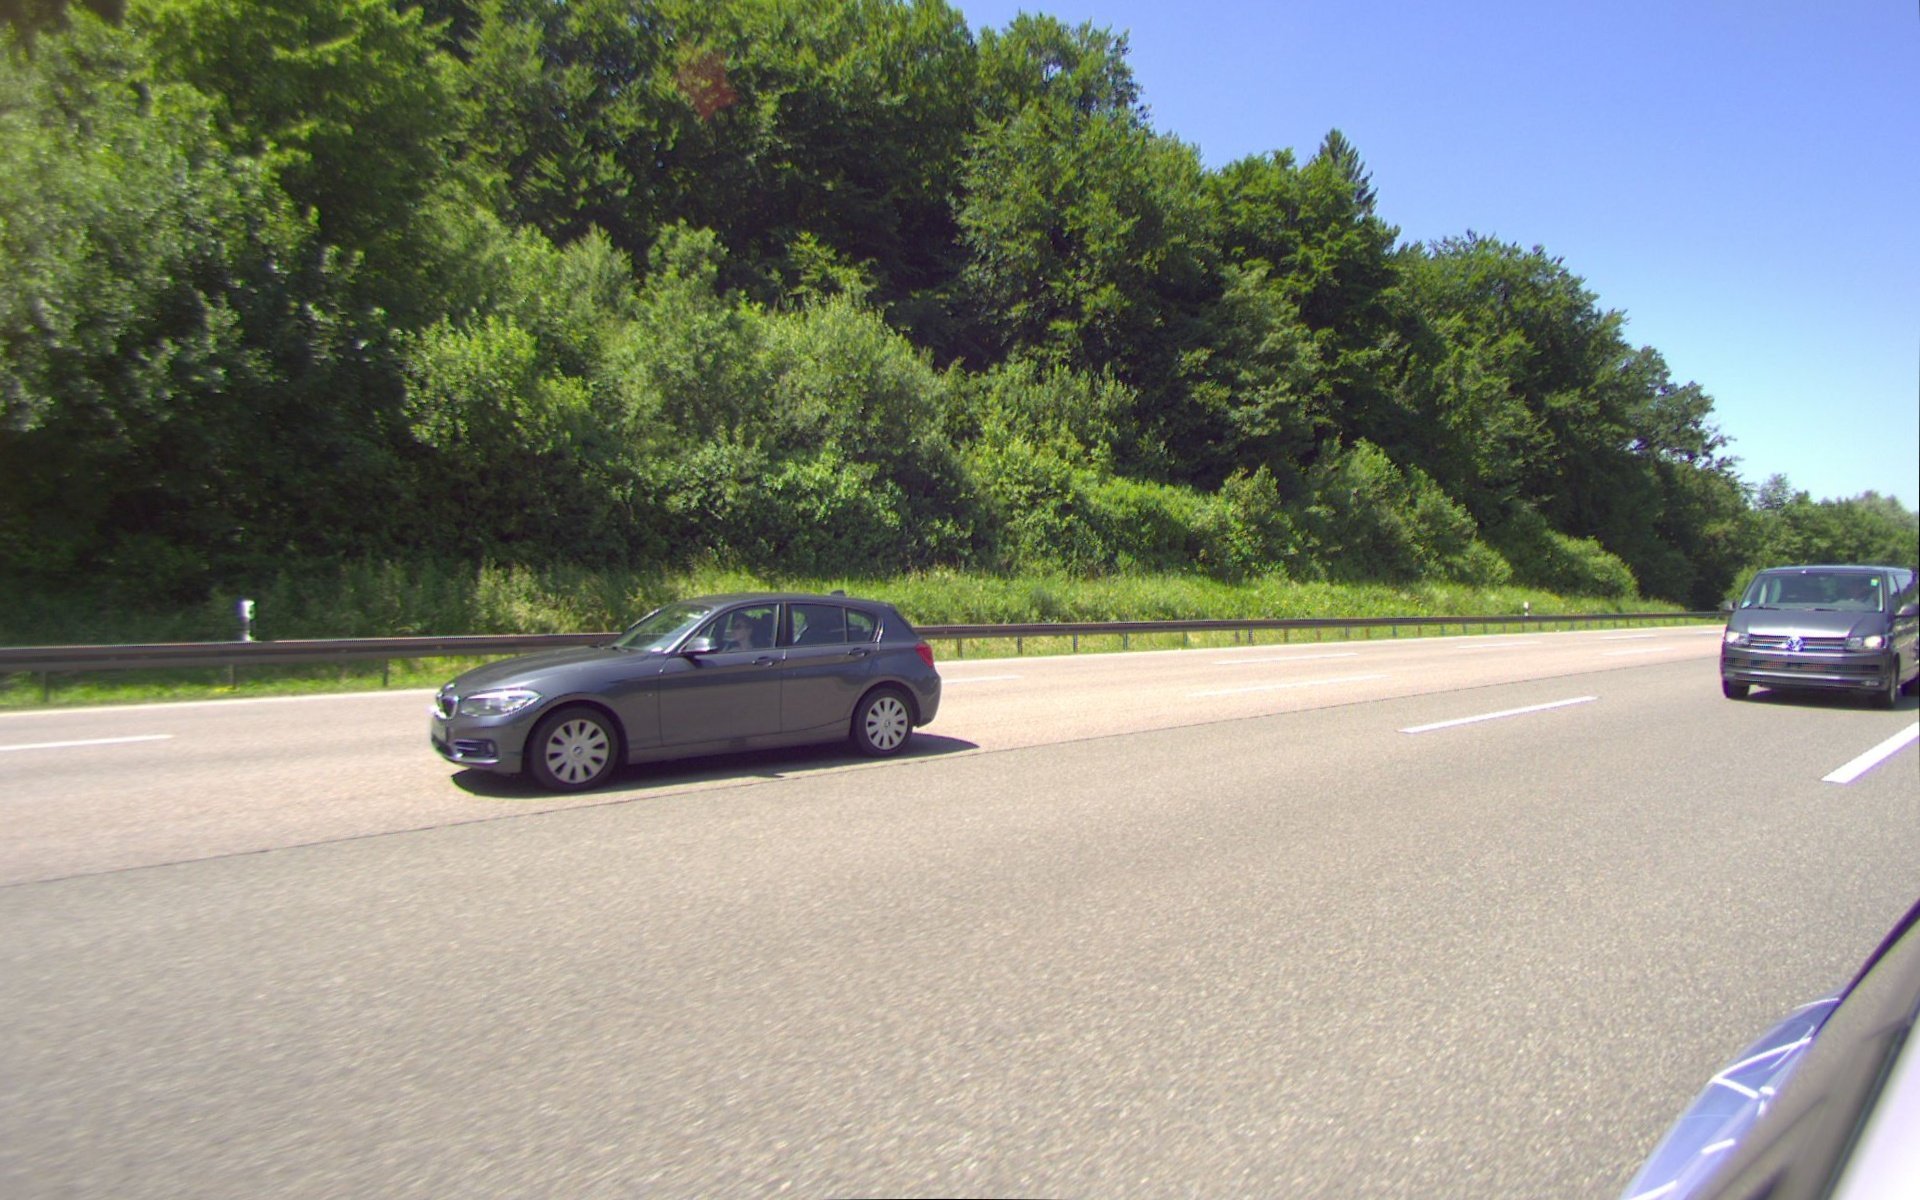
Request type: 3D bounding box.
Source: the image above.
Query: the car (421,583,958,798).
[{"bbox_3d":[-2.142,0.571,8.580,4.078,1.413,1.706,0,1,-38],"label":"car"}]

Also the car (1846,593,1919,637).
[{"bbox_3d":[34.609,0.507,37.845,4.408,1.538,1.752,0,1,-43],"label":"car"}]

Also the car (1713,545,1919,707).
[{"bbox_3d":[13.259,0.315,15.239,4.992,2.059,1.967,0,0,-40],"label":"car"}]
